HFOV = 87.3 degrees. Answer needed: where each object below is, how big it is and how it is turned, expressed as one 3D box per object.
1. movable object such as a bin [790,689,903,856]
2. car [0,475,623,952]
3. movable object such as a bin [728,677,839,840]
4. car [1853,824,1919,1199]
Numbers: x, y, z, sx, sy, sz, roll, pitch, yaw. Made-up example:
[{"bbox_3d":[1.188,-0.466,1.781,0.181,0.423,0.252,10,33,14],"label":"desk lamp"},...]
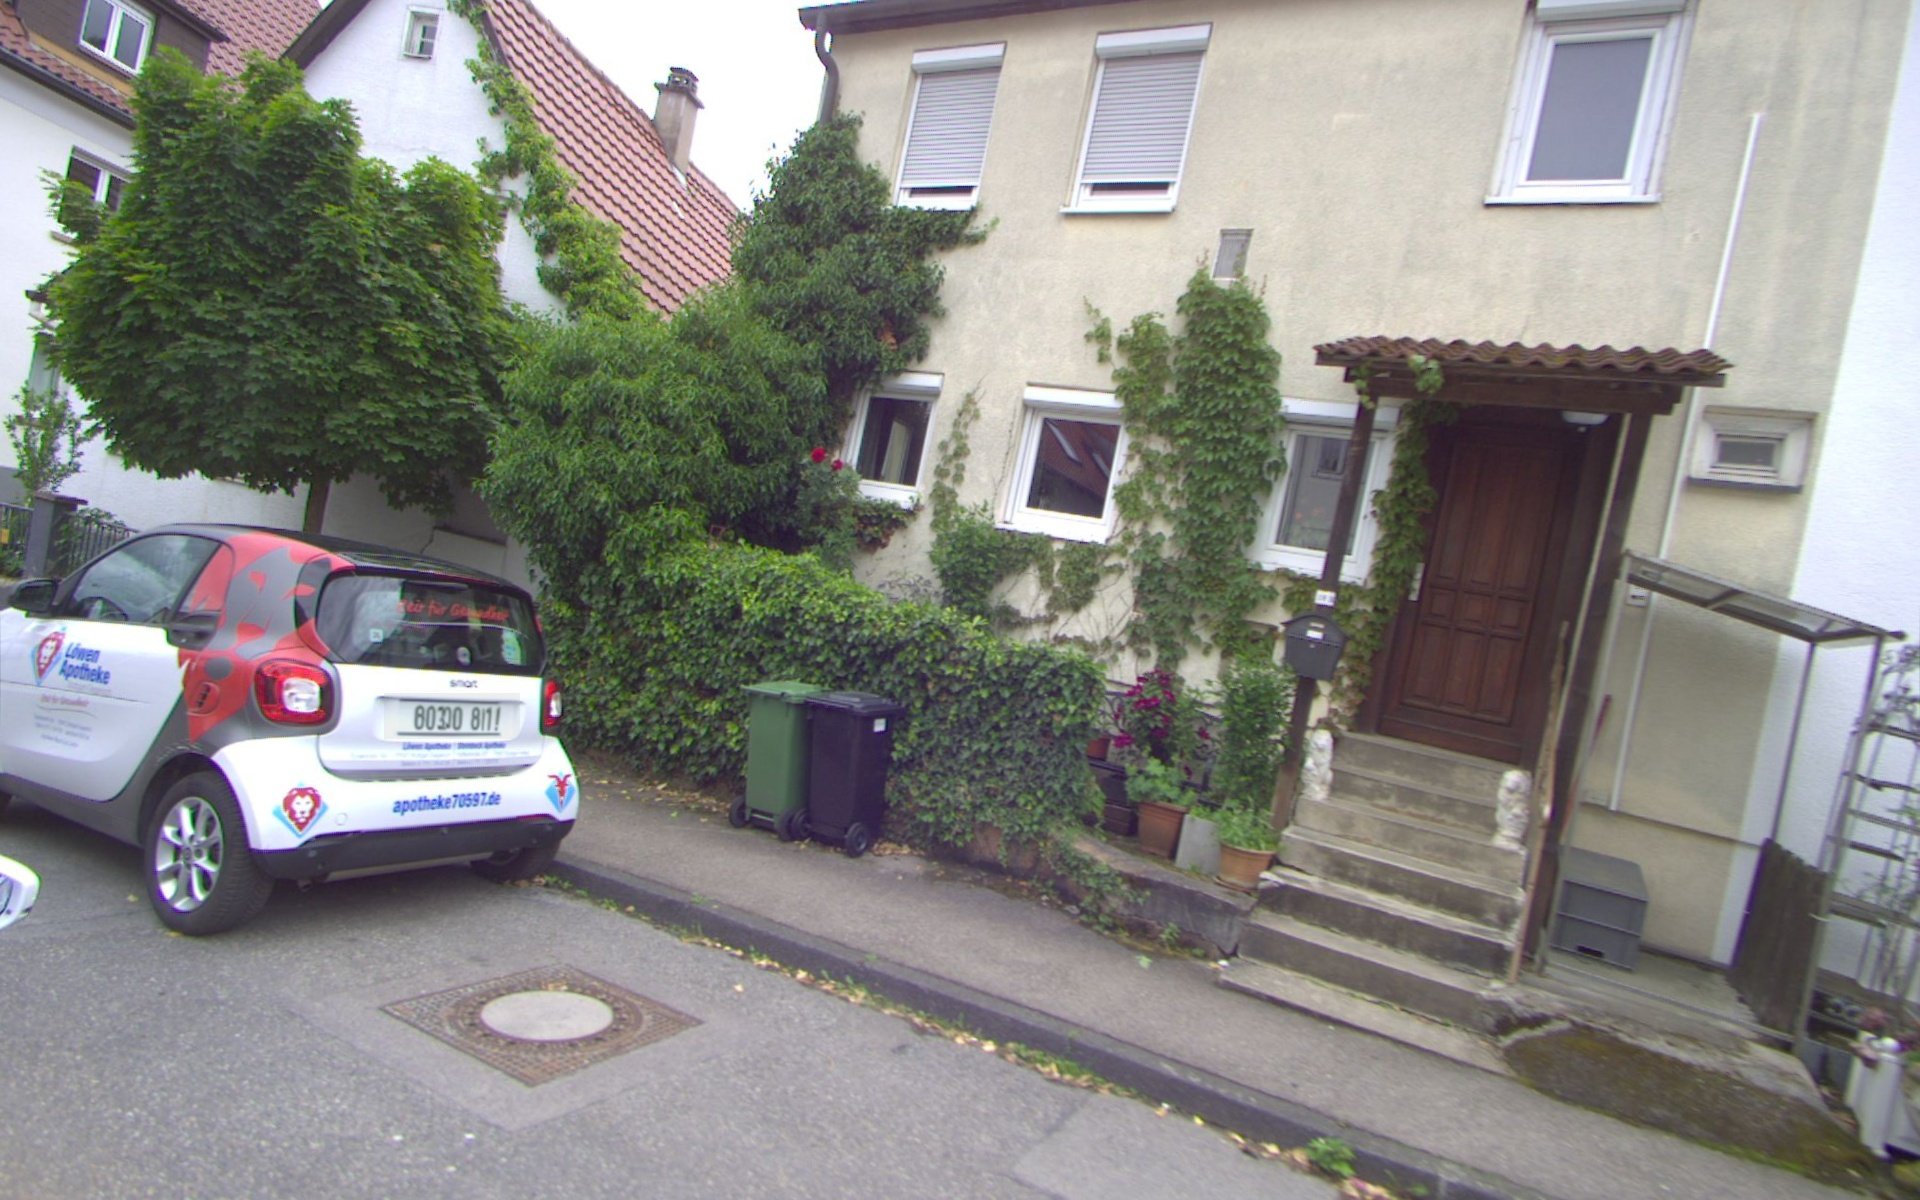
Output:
[{"bbox_3d":[-0.689,1.033,6.153,0.438,0.910,0.438,6,1,29],"label":"movable object such as a bin"},{"bbox_3d":[-3.422,0.409,4.878,2.844,1.548,1.619,8,-4,24],"label":"car"},{"bbox_3d":[-1.117,0.983,6.376,0.438,0.925,0.438,6,1,29],"label":"movable object such as a bin"},{"bbox_3d":[3.482,1.394,0.749,3.937,1.422,1.723,8,-3,33],"label":"car"}]
